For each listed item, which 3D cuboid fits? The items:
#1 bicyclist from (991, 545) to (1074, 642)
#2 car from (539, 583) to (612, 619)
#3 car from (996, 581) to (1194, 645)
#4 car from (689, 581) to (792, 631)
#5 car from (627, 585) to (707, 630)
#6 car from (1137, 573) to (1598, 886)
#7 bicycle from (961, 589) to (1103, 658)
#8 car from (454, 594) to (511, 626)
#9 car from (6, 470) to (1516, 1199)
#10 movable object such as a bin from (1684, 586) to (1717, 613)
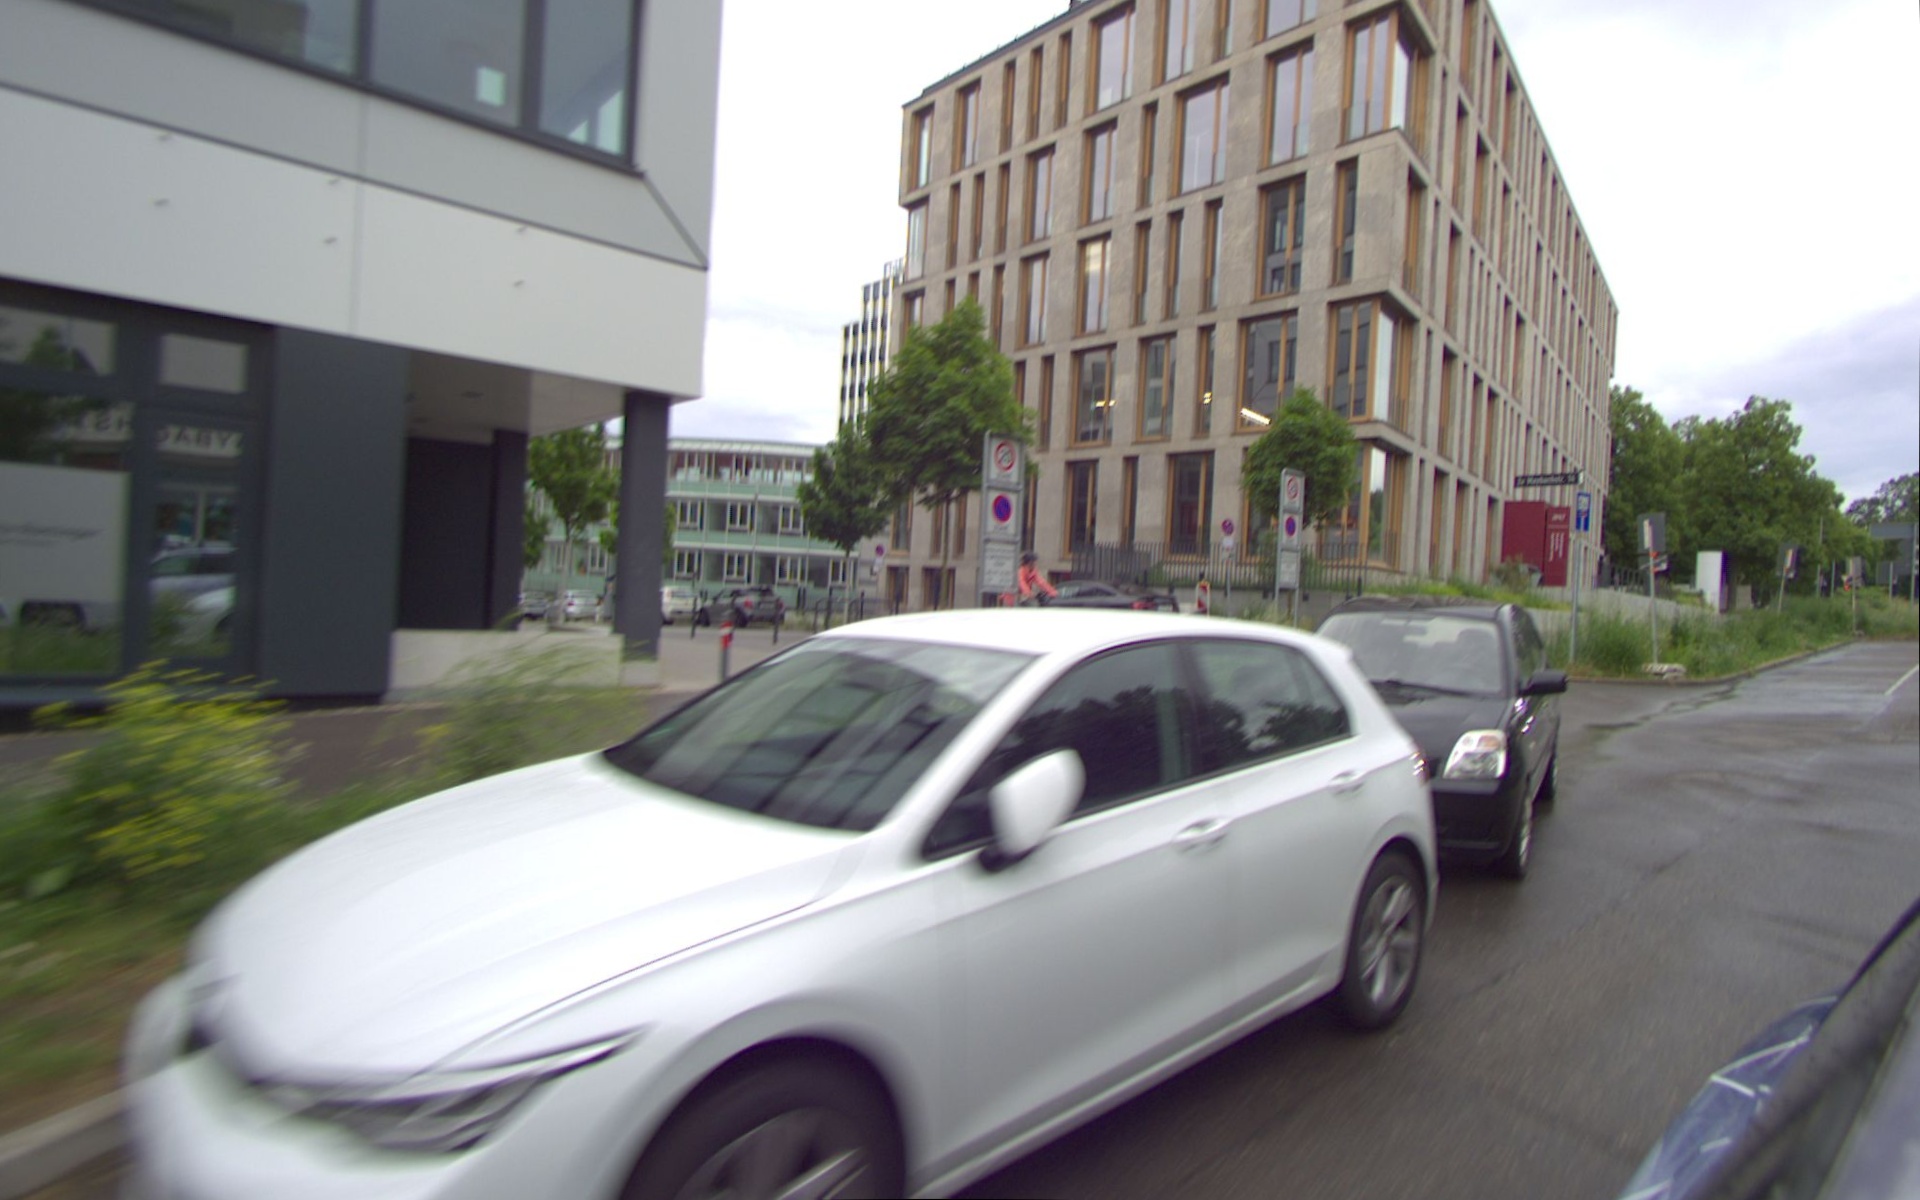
[{"bbox_3d":[1.194,-0.110,16.616,1.072,1.522,0.828,1,1,41],"label":"bicyclist"},{"bbox_3d":[-17.930,0.031,47.088,1.911,1.504,3.995,1,1,-41],"label":"car"},{"bbox_3d":[2.880,0.225,22.271,1.700,1.260,4.235,0,1,-42],"label":"car"},{"bbox_3d":[-7.578,0.179,34.764,1.826,1.551,3.839,1,1,-41],"label":"car"},{"bbox_3d":[-11.301,0.265,38.925,1.591,1.523,3.615,1,1,-41],"label":"car"},{"bbox_3d":[3.066,0.594,7.058,2.039,1.476,4.001,2,1,37],"label":"car"},{"bbox_3d":[1.141,0.359,16.679,2.473,1.033,0.616,1,1,41],"label":"bicycle"},{"bbox_3d":[-27.634,0.549,58.514,1.965,1.660,3.995,1,1,-41],"label":"car"},{"bbox_3d":[-0.085,0.576,3.374,4.425,1.482,2.043,0,1,-42],"label":"car"},{"bbox_3d":[41.613,-0.010,56.885,1.091,1.476,1.248,-1,-1,-41],"label":"movable object such as a bin"}]
